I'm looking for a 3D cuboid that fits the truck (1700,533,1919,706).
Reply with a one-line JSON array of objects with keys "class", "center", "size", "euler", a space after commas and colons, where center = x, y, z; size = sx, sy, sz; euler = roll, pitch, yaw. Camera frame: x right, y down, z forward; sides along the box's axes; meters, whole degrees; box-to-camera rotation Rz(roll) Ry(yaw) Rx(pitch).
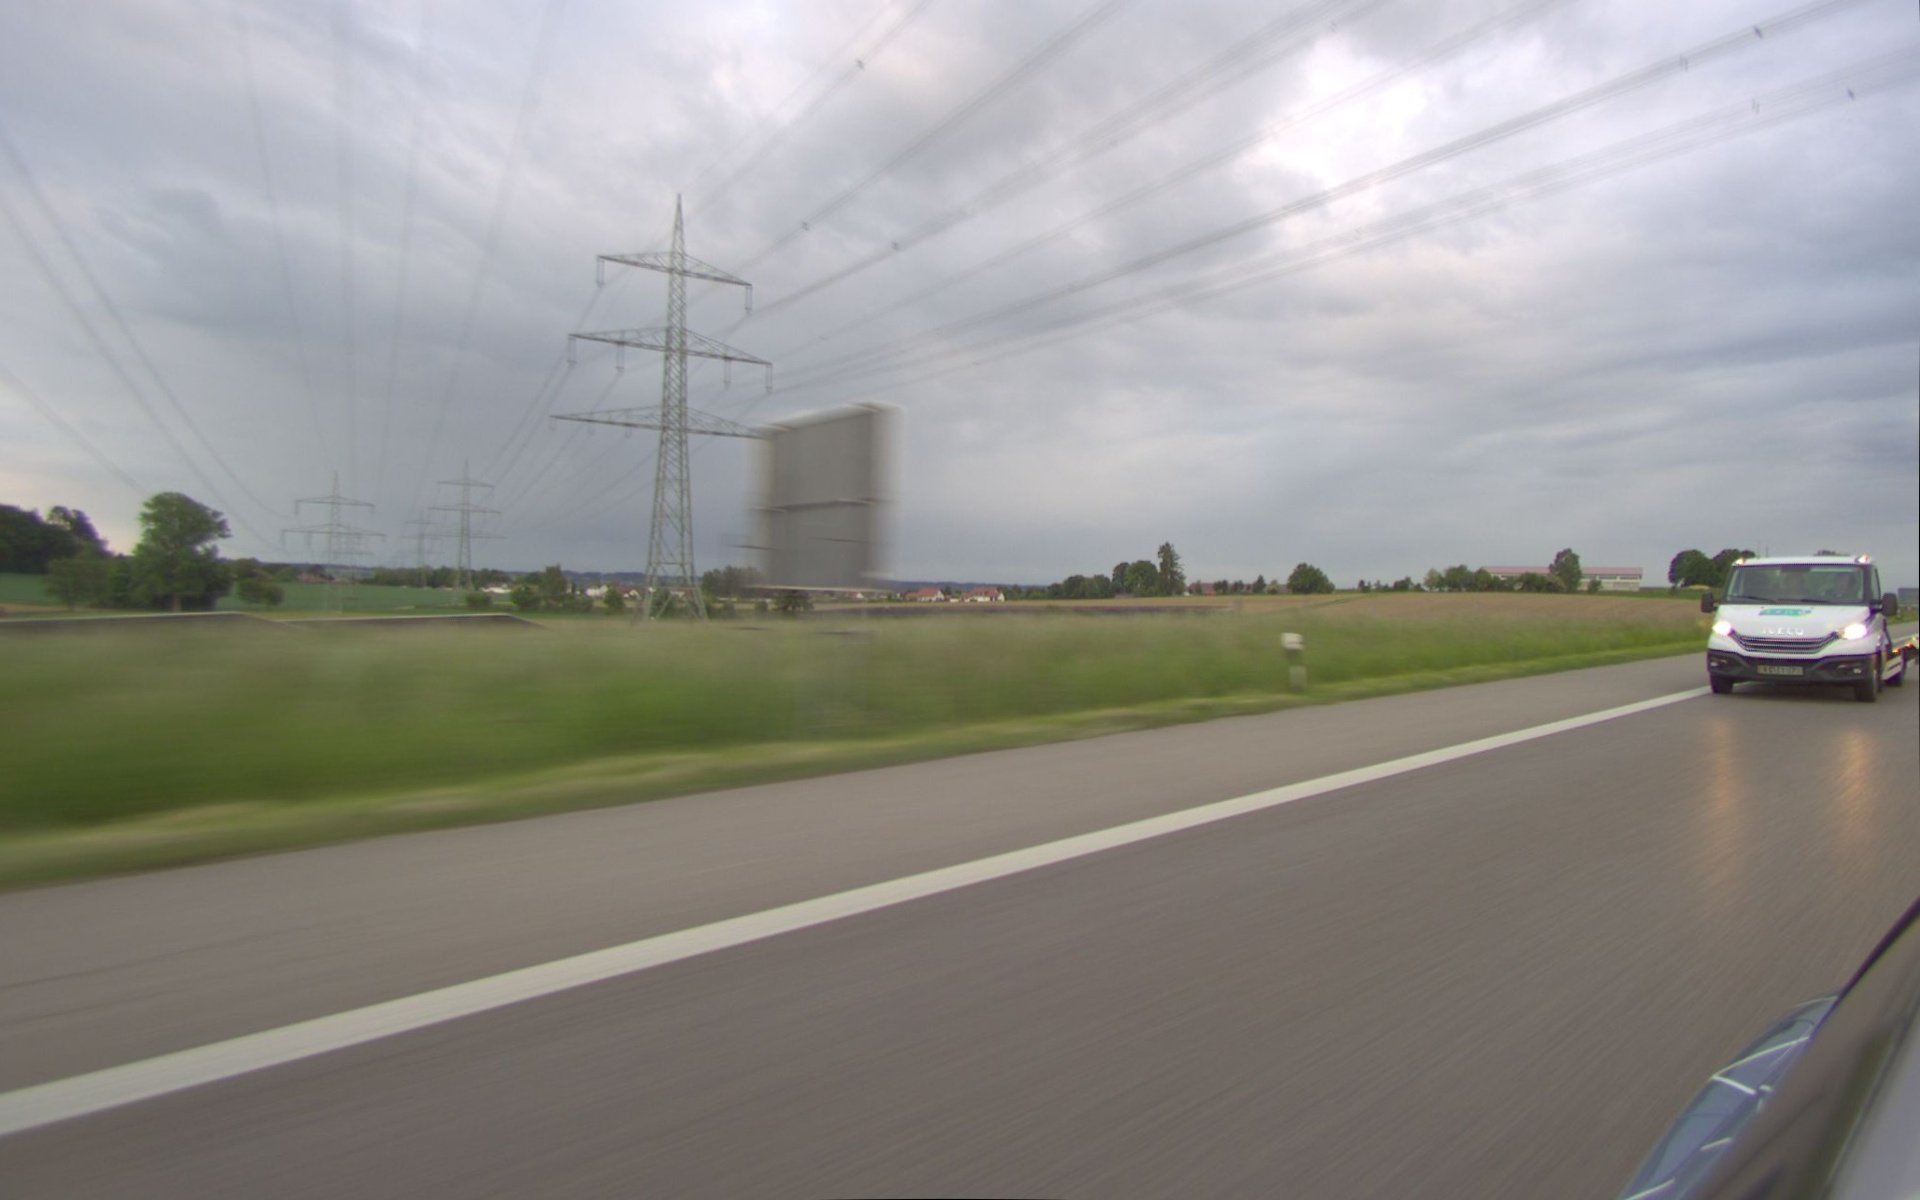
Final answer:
[{"class": "truck", "center": [14.962, 0.284, 17.416], "size": [7.566, 2.390, 2.174], "euler": [0, -1, -43]}]
